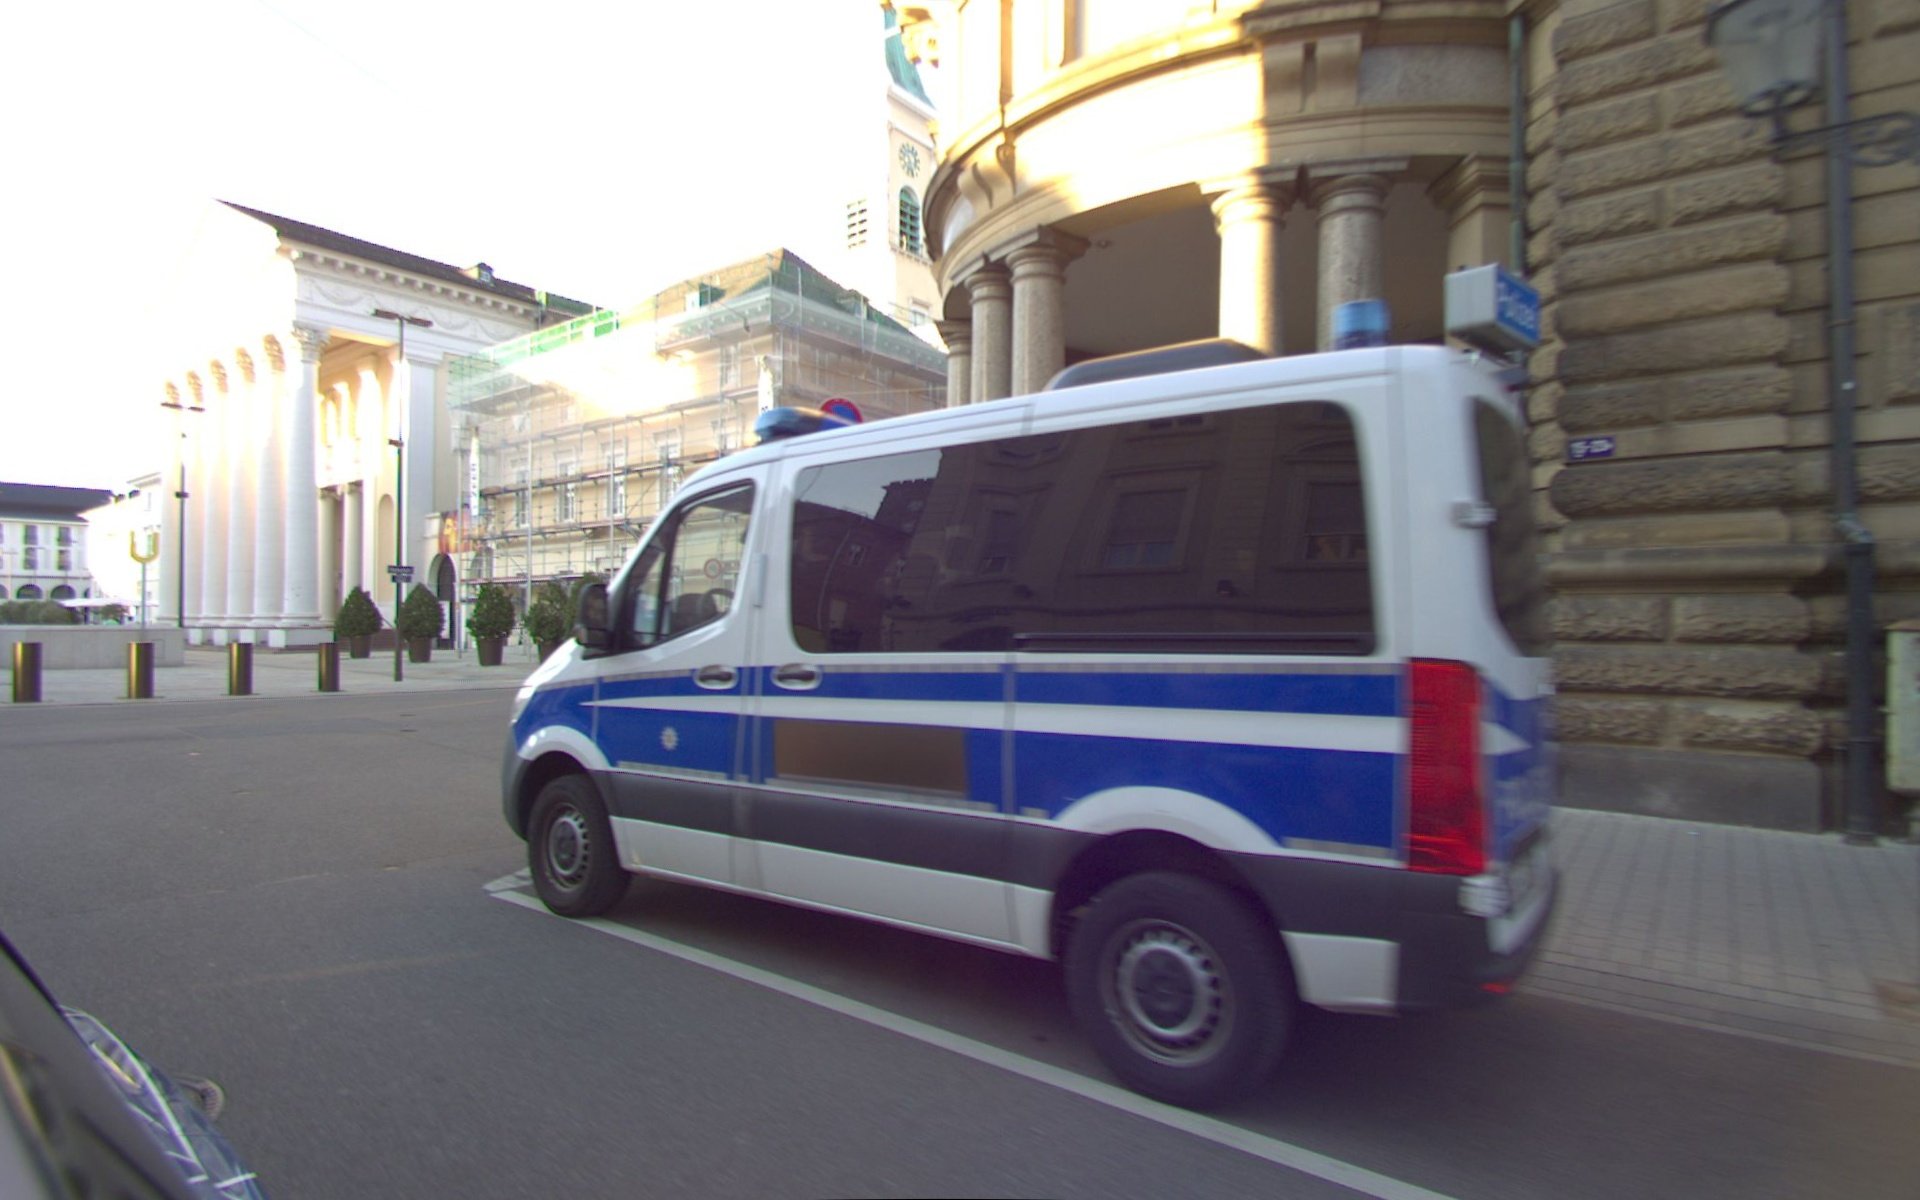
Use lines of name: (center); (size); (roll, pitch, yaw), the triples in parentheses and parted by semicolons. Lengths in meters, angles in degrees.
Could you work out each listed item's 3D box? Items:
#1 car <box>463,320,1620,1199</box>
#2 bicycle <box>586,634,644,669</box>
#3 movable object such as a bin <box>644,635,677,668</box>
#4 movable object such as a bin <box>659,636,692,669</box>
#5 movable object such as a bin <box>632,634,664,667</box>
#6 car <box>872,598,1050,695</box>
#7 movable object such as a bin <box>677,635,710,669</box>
car: (-0.014, 0.456, 4.805); (5.195, 2.188, 1.976); (-1, -2, 35)
bicycle: (-11.403, 1.702, 33.438); (1.838, 1.120, 0.630); (0, -2, 20)
movable object such as a bin: (-10.201, 1.745, 34.488); (0.721, 1.085, 0.801); (-1, -2, 40)
movable object such as a bin: (-9.573, 1.751, 34.009); (0.721, 1.085, 0.801); (-1, -2, 40)
movable object such as a bin: (-10.803, 1.739, 35.011); (0.721, 1.085, 0.801); (-1, -2, 40)
car: (0.088, 1.039, 23.307); (1.999, 2.029, 3.944); (-2, -3, 42)
movable object such as a bin: (-8.788, 1.704, 33.380); (0.721, 1.085, 0.801); (-1, -2, 40)
